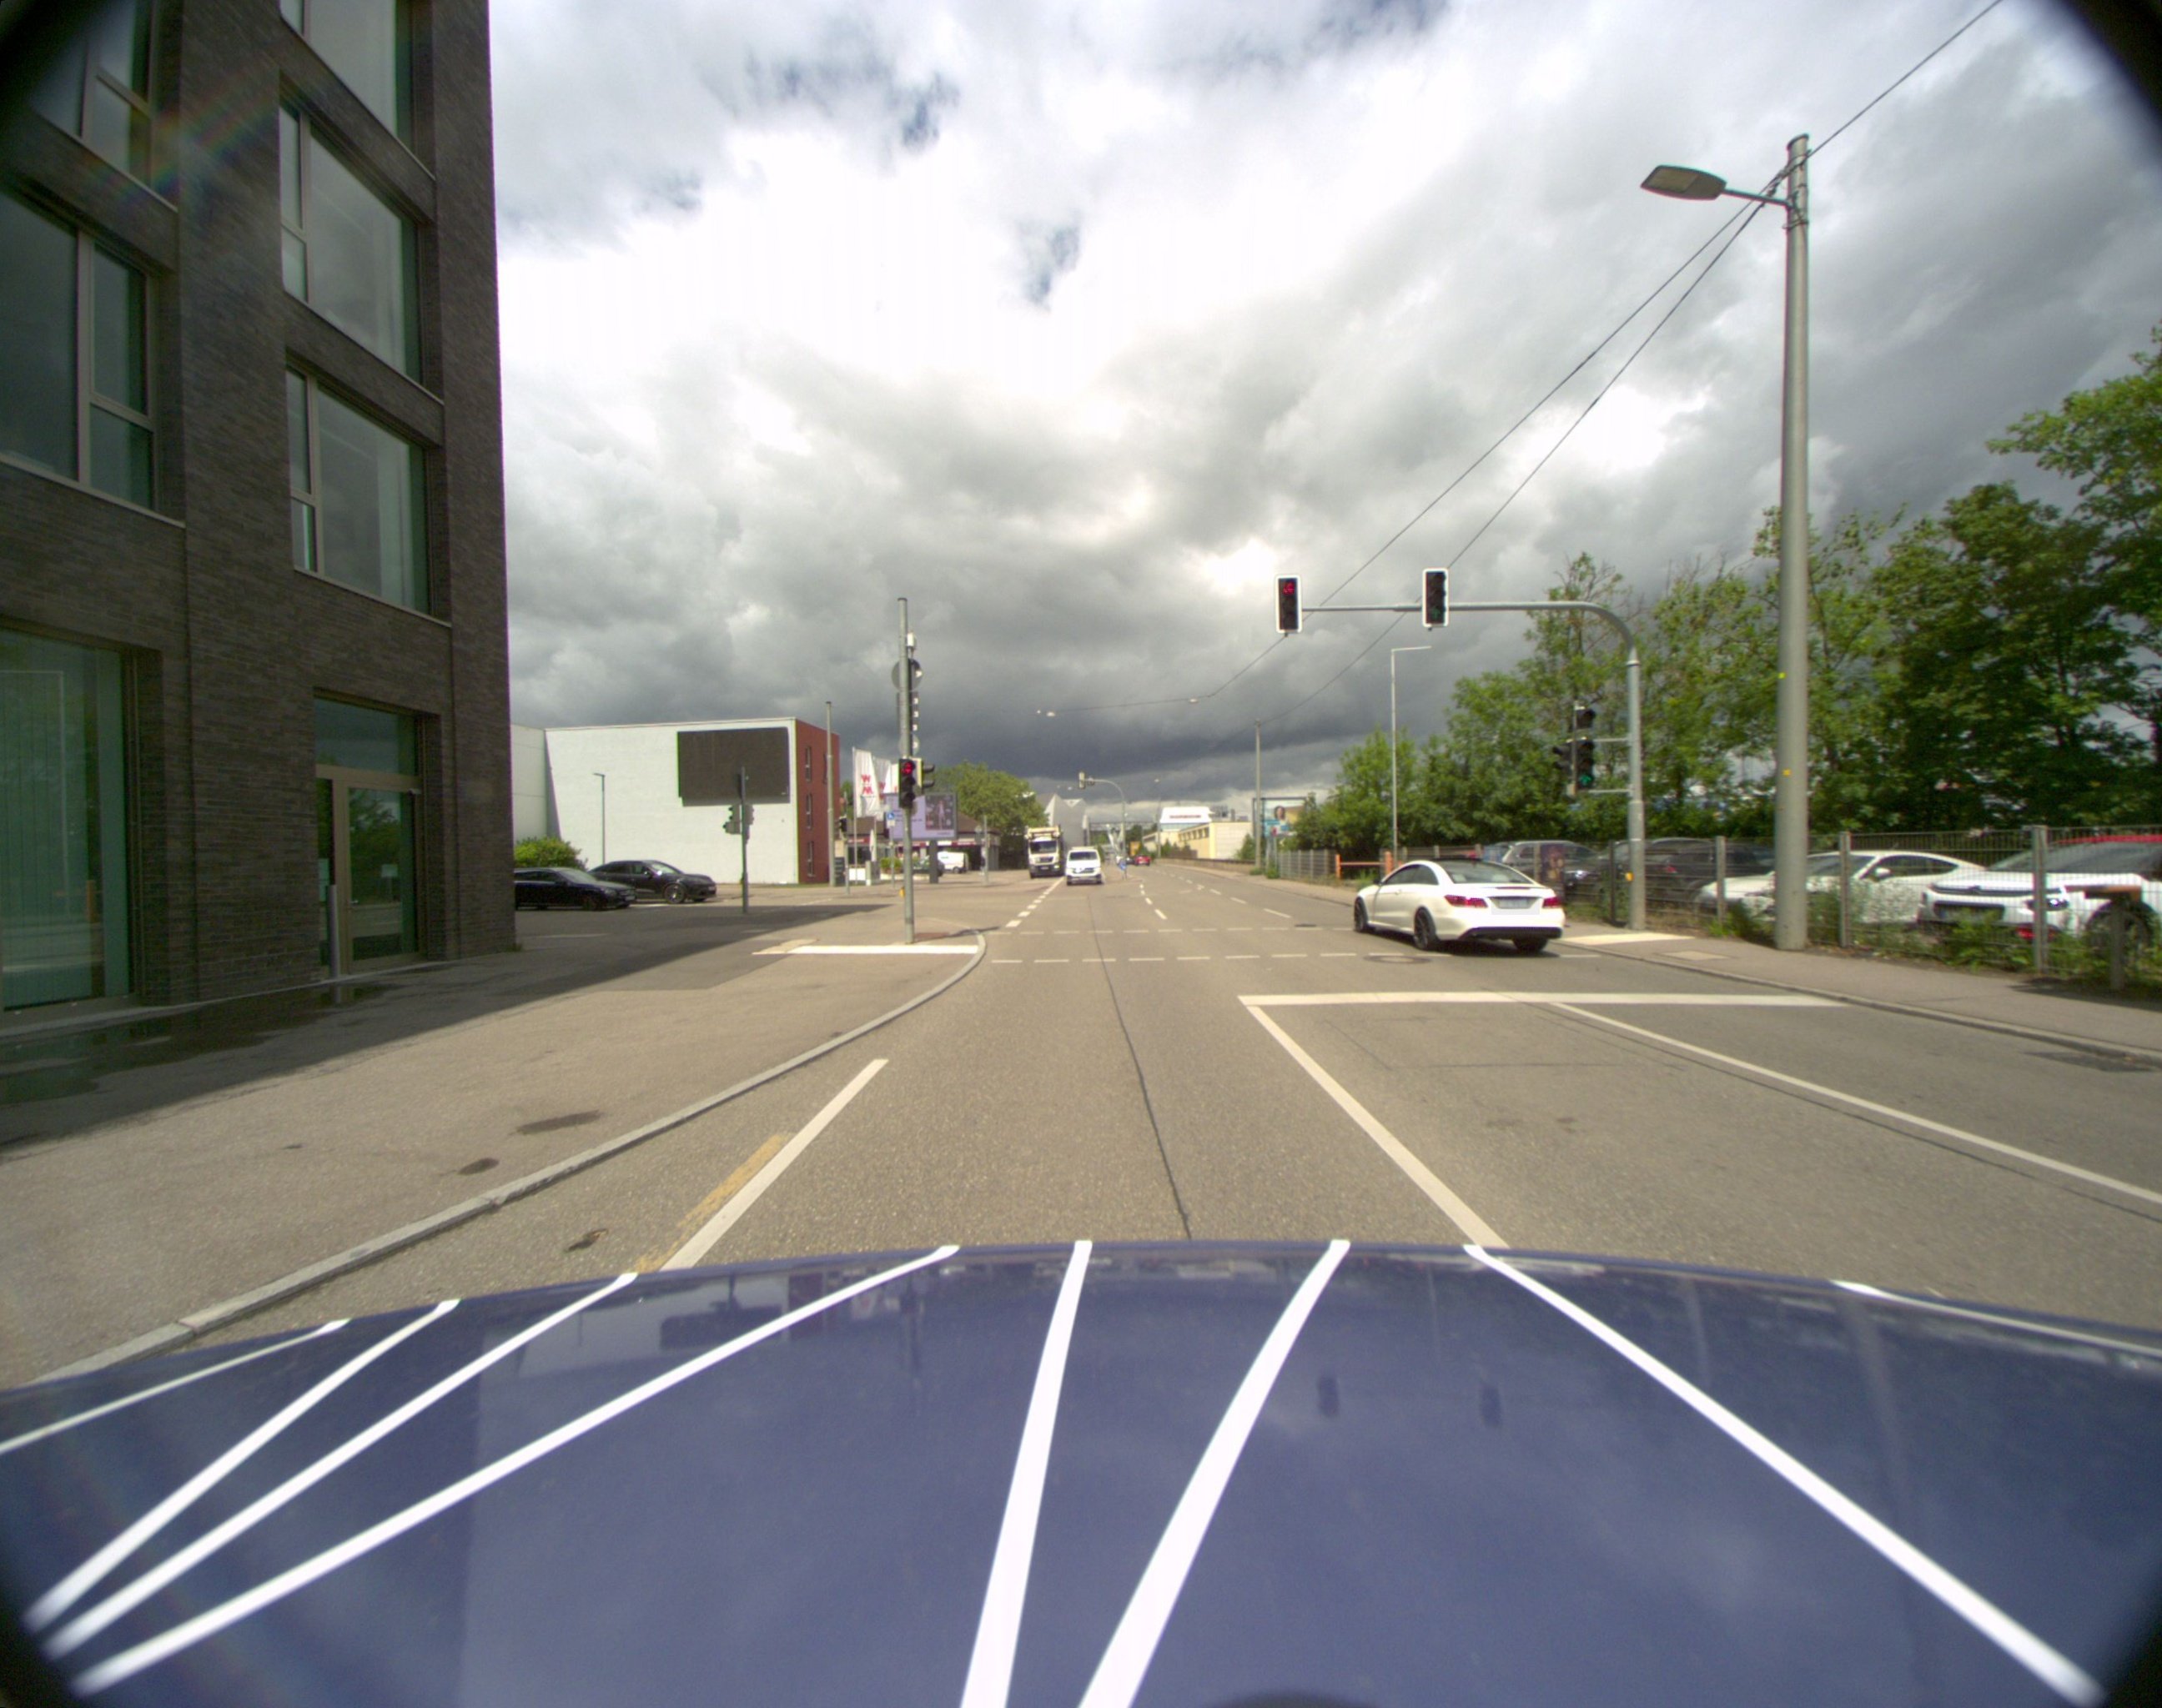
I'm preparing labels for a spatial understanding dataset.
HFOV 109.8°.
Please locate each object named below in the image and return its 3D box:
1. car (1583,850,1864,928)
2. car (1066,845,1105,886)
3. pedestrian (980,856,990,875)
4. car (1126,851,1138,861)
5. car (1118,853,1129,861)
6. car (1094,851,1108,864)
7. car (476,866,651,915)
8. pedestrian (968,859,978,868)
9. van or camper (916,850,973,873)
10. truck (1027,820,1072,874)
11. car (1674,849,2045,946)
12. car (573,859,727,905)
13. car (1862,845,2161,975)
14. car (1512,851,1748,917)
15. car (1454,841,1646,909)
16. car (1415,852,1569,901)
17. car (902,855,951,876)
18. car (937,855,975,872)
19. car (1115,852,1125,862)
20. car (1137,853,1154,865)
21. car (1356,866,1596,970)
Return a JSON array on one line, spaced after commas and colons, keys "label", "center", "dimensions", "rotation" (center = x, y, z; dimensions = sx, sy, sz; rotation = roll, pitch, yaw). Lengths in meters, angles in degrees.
[{"label": "car", "center": [12.900, 0.663, 15.449], "dimensions": [4.114, 1.410, 1.999], "rotation": [-1, 0, -3]}, {"label": "car", "center": [0.291, 0.590, 41.816], "dimensions": [1.935, 2.078, 4.208], "rotation": [-1, 0, 3]}, {"label": "pedestrian", "center": [-8.902, 1.052, 70.259], "dimensions": [0.714, 1.697, 0.739], "rotation": [3, 1, 1]}, {"label": "car", "center": [8.770, 0.403, 131.416], "dimensions": [1.861, 1.608, 4.000], "rotation": [-1, 0, 1]}, {"label": "car", "center": [8.458, 0.650, 151.899], "dimensions": [1.861, 1.608, 4.000], "rotation": [-1, 0, 1]}, {"label": "car", "center": [2.861, 0.528, 110.857], "dimensions": [1.870, 1.782, 4.207], "rotation": [-1, 0, 0]}, {"label": "car", "center": [-17.434, 1.210, 25.767], "dimensions": [4.535, 1.484, 2.000], "rotation": [-1, 1, 1]}, {"label": "pedestrian", "center": [-14.838, 1.271, 104.488], "dimensions": [0.884, 1.241, 0.967], "rotation": [-1, 0, 29]}, {"label": "van or camper", "center": [-12.930, 0.692, 72.118], "dimensions": [4.909, 1.946, 2.212], "rotation": [1, 1, 1]}, {"label": "truck", "center": [-2.331, -0.556, 60.368], "dimensions": [2.836, 3.889, 10.365], "rotation": [-1, 1, 2]}, {"label": "car", "center": [12.564, 0.663, 12.490], "dimensions": [4.113, 1.410, 1.916], "rotation": [-1, 0, 1]}, {"label": "car", "center": [-16.204, 1.042, 28.764], "dimensions": [4.651, 1.609, 2.000], "rotation": [-1, 0, 0]}, {"label": "car", "center": [12.947, 0.617, 9.448], "dimensions": [4.321, 1.410, 2.025], "rotation": [-1, 0, 2]}, {"label": "car", "center": [12.747, 0.667, 17.858], "dimensions": [4.113, 1.410, 2.000], "rotation": [-1, 0, -1]}, {"label": "car", "center": [12.831, 0.533, 20.953], "dimensions": [4.114, 1.724, 1.999], "rotation": [-1, 0, -4]}, {"label": "car", "center": [12.775, 0.667, 23.733], "dimensions": [3.864, 1.410, 1.901], "rotation": [-1, 0, -8]}, {"label": "car", "center": [-12.996, 0.956, 64.113], "dimensions": [3.675, 1.477, 1.762], "rotation": [3, 1, 3]}, {"label": "car", "center": [-12.370, 0.963, 75.297], "dimensions": [3.460, 1.477, 1.835], "rotation": [3, 1, -2]}, {"label": "car", "center": [8.846, 0.684, 172.990], "dimensions": [1.896, 2.002, 5.650], "rotation": [-1, 0, 1]}, {"label": "car", "center": [8.416, 0.662, 99.693], "dimensions": [1.935, 1.590, 4.153], "rotation": [1, 0, 1]}, {"label": "car", "center": [6.170, 0.916, 12.518], "dimensions": [1.801, 1.368, 4.224], "rotation": [0, 0, 1]}]
